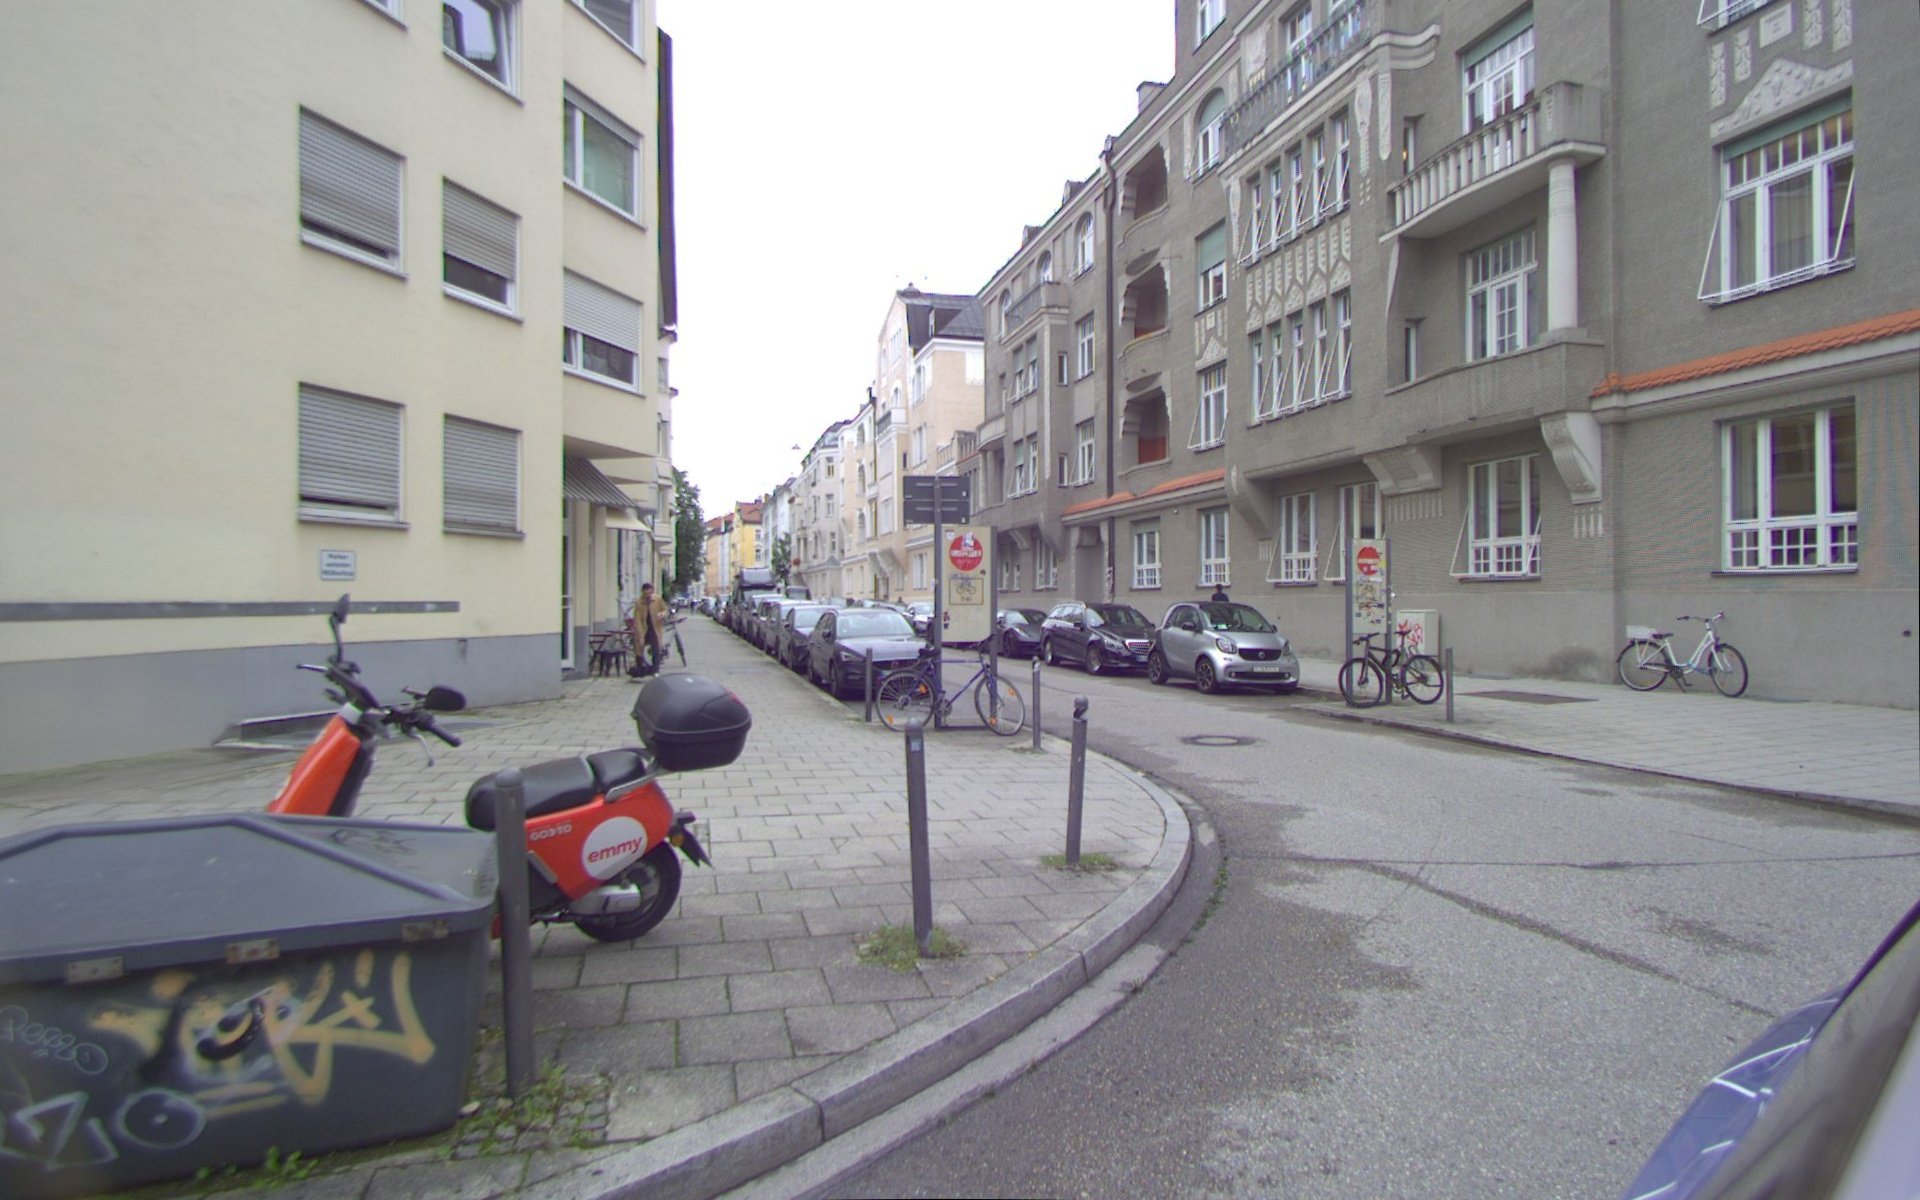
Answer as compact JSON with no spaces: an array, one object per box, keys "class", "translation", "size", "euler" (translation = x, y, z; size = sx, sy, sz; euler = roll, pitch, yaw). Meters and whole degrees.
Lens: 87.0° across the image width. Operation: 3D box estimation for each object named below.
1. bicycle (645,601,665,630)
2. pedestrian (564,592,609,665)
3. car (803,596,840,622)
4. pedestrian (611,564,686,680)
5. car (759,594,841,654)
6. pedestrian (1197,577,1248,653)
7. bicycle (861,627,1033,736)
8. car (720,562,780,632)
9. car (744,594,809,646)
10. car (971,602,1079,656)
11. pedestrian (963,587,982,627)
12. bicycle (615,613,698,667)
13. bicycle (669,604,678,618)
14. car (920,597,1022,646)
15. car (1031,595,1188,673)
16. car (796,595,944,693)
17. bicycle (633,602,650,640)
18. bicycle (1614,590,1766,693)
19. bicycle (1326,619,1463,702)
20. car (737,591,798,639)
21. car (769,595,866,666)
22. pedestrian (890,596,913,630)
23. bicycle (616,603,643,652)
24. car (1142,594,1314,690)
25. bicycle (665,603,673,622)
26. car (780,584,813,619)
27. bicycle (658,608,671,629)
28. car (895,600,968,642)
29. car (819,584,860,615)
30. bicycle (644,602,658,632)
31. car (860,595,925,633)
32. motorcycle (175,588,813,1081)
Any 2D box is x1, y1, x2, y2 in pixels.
[{"class":"bicycle","translation":[-12.872,0.653,42.744],"size":[0.473,1.165,1.790],"euler":[-1,0,-7]},{"class":"pedestrian","translation":[-7.318,0.550,19.856],"size":[0.525,1.416,0.670],"euler":[-1,0,17]},{"class":"car","translation":[-9.419,0.584,68.606],"size":[1.839,1.669,4.469],"euler":[-1,0,-16]},{"class":"pedestrian","translation":[-5.221,0.383,16.954],"size":[0.729,1.872,1.014],"euler":[5,-4,-43]},{"class":"car","translation":[-4.605,0.635,28.690],"size":[1.605,1.556,3.863],"euler":[-1,0,-19]},{"class":"pedestrian","translation":[6.388,0.353,24.646],"size":[0.824,1.810,0.938],"euler":[-1,0,-13]},{"class":"bicycle","translation":[-0.130,0.861,11.044],"size":[1.769,1.100,0.663],"euler":[0,-2,12]},{"class":"car","translation":[-9.883,-0.201,47.216],"size":[2.214,2.996,6.146],"euler":[-2,1,-16]},{"class":"car","translation":[-6.191,0.627,33.913],"size":[1.605,1.612,3.976],"euler":[-1,0,-18]},{"class":"car","translation":[1.689,0.722,27.603],"size":[1.724,1.348,4.104],"euler":[0,0,-15]},{"class":"pedestrian","translation":[0.571,0.338,47.353],"size":[0.704,1.840,0.732],"euler":[-1,0,-16]},{"class":"bicycle","translation":[-6.258,0.798,20.965],"size":[0.744,1.045,1.787],"euler":[1,0,19]},{"class":"bicycle","translation":[-21.741,0.831,76.806],"size":[0.529,0.970,1.821],"euler":[-1,0,-18]},{"class":"car","translation":[0.262,0.643,32.887],"size":[1.958,1.467,4.788],"euler":[0,0,-17]},{"class":"car","translation":[3.134,0.668,22.309],"size":[1.724,1.534,4.717],"euler":[0,0,-15]},{"class":"car","translation":[-1.745,0.675,18.099],"size":[1.662,1.490,4.620],"euler":[-1,0,-17]},{"class":"bicycle","translation":[-10.136,0.653,32.183],"size":[0.473,1.165,1.792],"euler":[-1,0,-18]},{"class":"bicycle","translation":[10.314,0.546,14.370],"size":[0.607,1.366,1.678],"euler":[-1,0,-20]},{"class":"bicycle","translation":[5.967,0.814,13.911],"size":[1.770,1.028,0.541],"euler":[-2,0,-16]},{"class":"car","translation":[-7.618,0.560,39.670],"size":[1.958,1.710,4.683],"euler":[-2,0,-15]},{"class":"car","translation":[-3.396,0.647,23.568],"size":[1.605,1.490,3.863],"euler":[-1,0,-17]},{"class":"pedestrian","translation":[-3.059,0.679,52.777],"size":[0.975,1.750,0.941],"euler":[-1,0,-16]},{"class":"bicycle","translation":[-8.539,0.703,26.152],"size":[0.553,1.208,1.680],"euler":[2,-1,-20]},{"class":"car","translation":[4.606,0.692,17.766],"size":[1.673,1.534,2.917],"euler":[1,0,-15]},{"class":"bicycle","translation":[-18.320,0.787,63.771],"size":[0.484,1.131,1.971],"euler":[-1,0,-16]},{"class":"car","translation":[-13.207,0.093,81.487],"size":[2.061,2.654,5.689],"euler":[1,0,-15]},{"class":"bicycle","translation":[-16.244,0.997,55.577],"size":[0.630,1.131,1.971],"euler":[-1,0,-15]},{"class":"car","translation":[-1.144,0.753,38.143],"size":[1.773,1.449,4.447],"euler":[1,0,-14]},{"class":"car","translation":[-7.002,-0.028,58.585],"size":[1.916,1.680,4.626],"euler":[-1,0,-12]},{"class":"bicycle","translation":[-12.366,0.674,40.455],"size":[0.473,1.165,1.792],"euler":[2,-1,-18]},{"class":"car","translation":[-2.963,0.561,43.529],"size":[1.804,1.532,4.617],"euler":[-1,0,-17]},{"class":"motorcycle","translation":[-1.656,0.654,3.814],"size":[2.047,1.373,0.816],"euler":[-1,0,-39]}]
